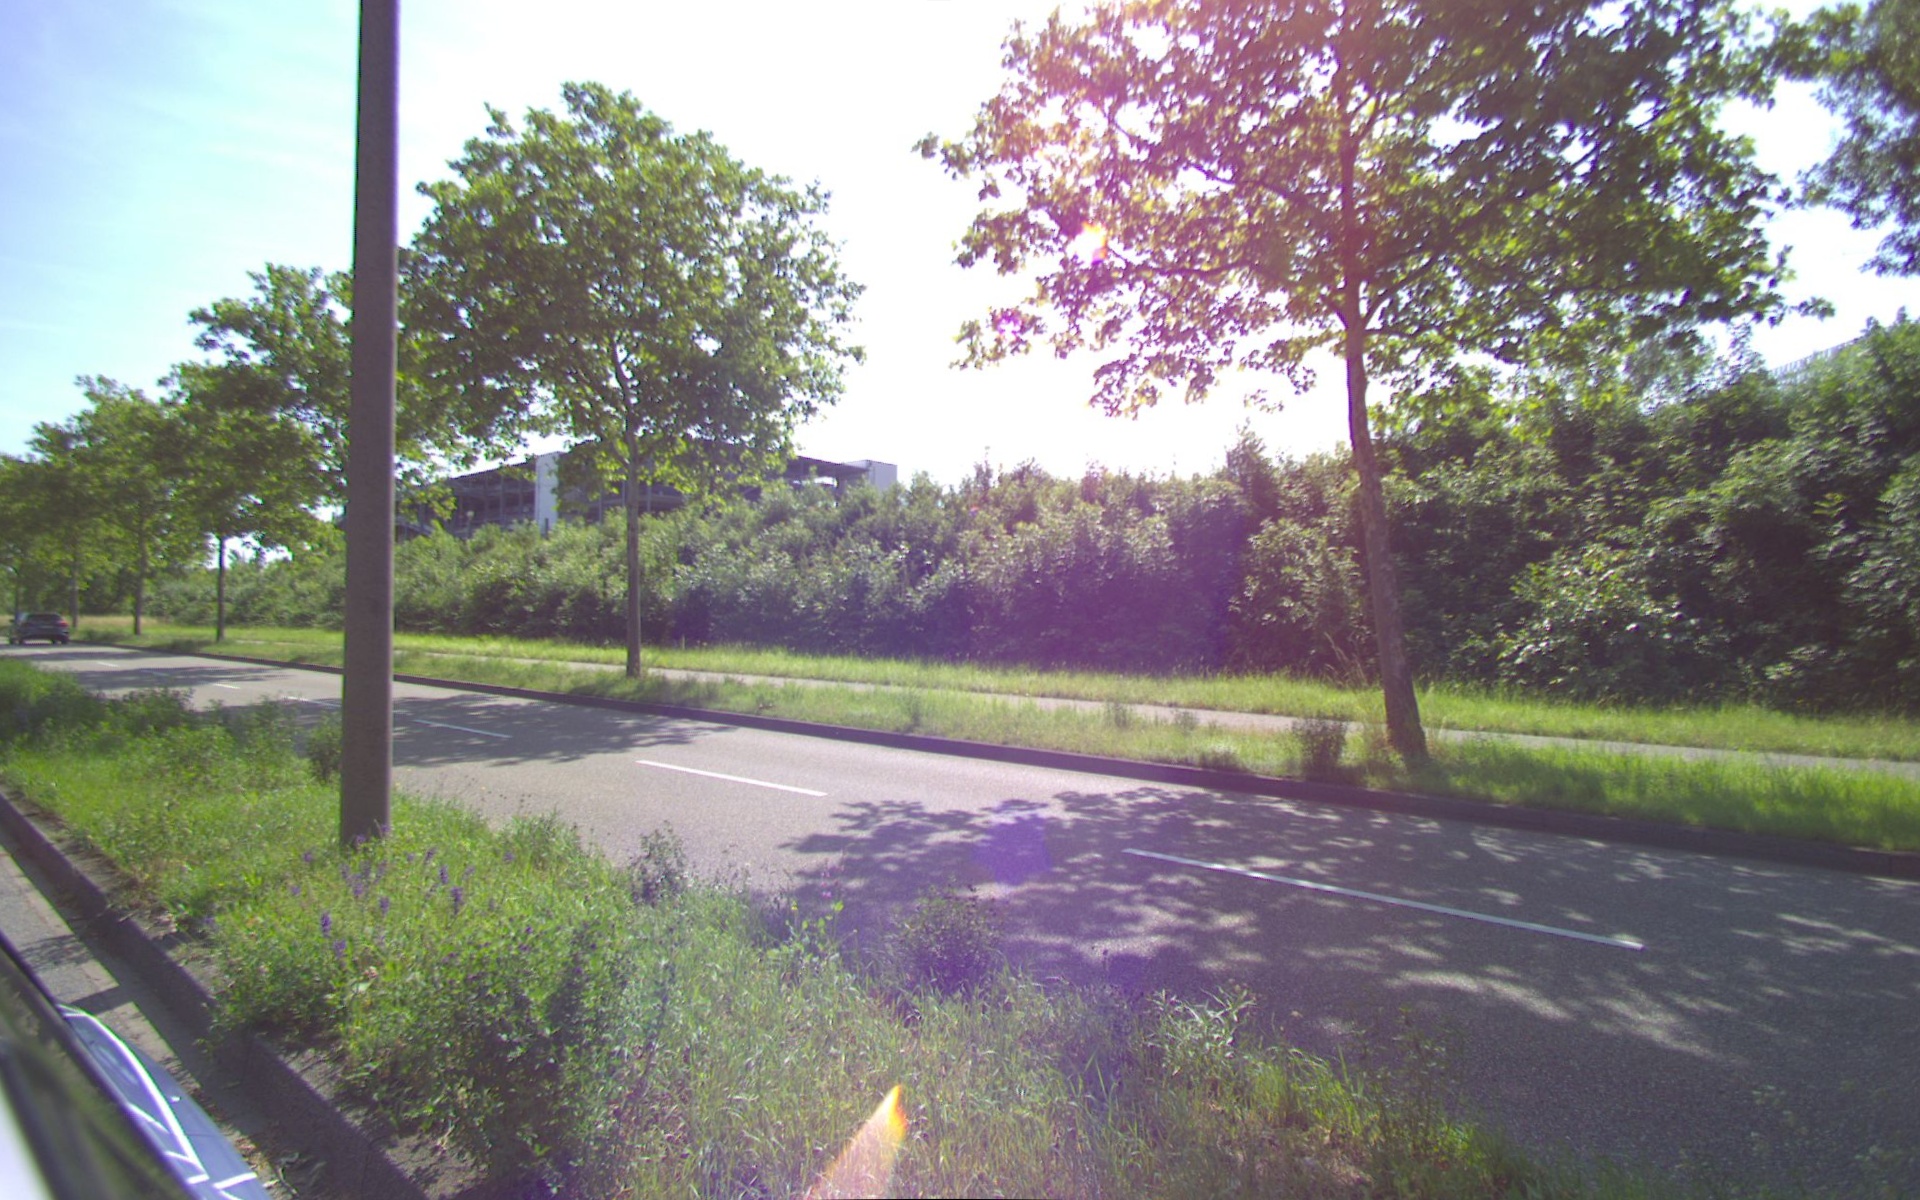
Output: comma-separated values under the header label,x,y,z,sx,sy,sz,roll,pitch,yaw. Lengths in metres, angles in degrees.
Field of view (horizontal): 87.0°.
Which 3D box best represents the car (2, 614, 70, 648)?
label,x,y,z,sx,sy,sz,roll,pitch,yaw
car,-42.845,1.400,46.915,3.935,1.478,1.844,0,-1,40
